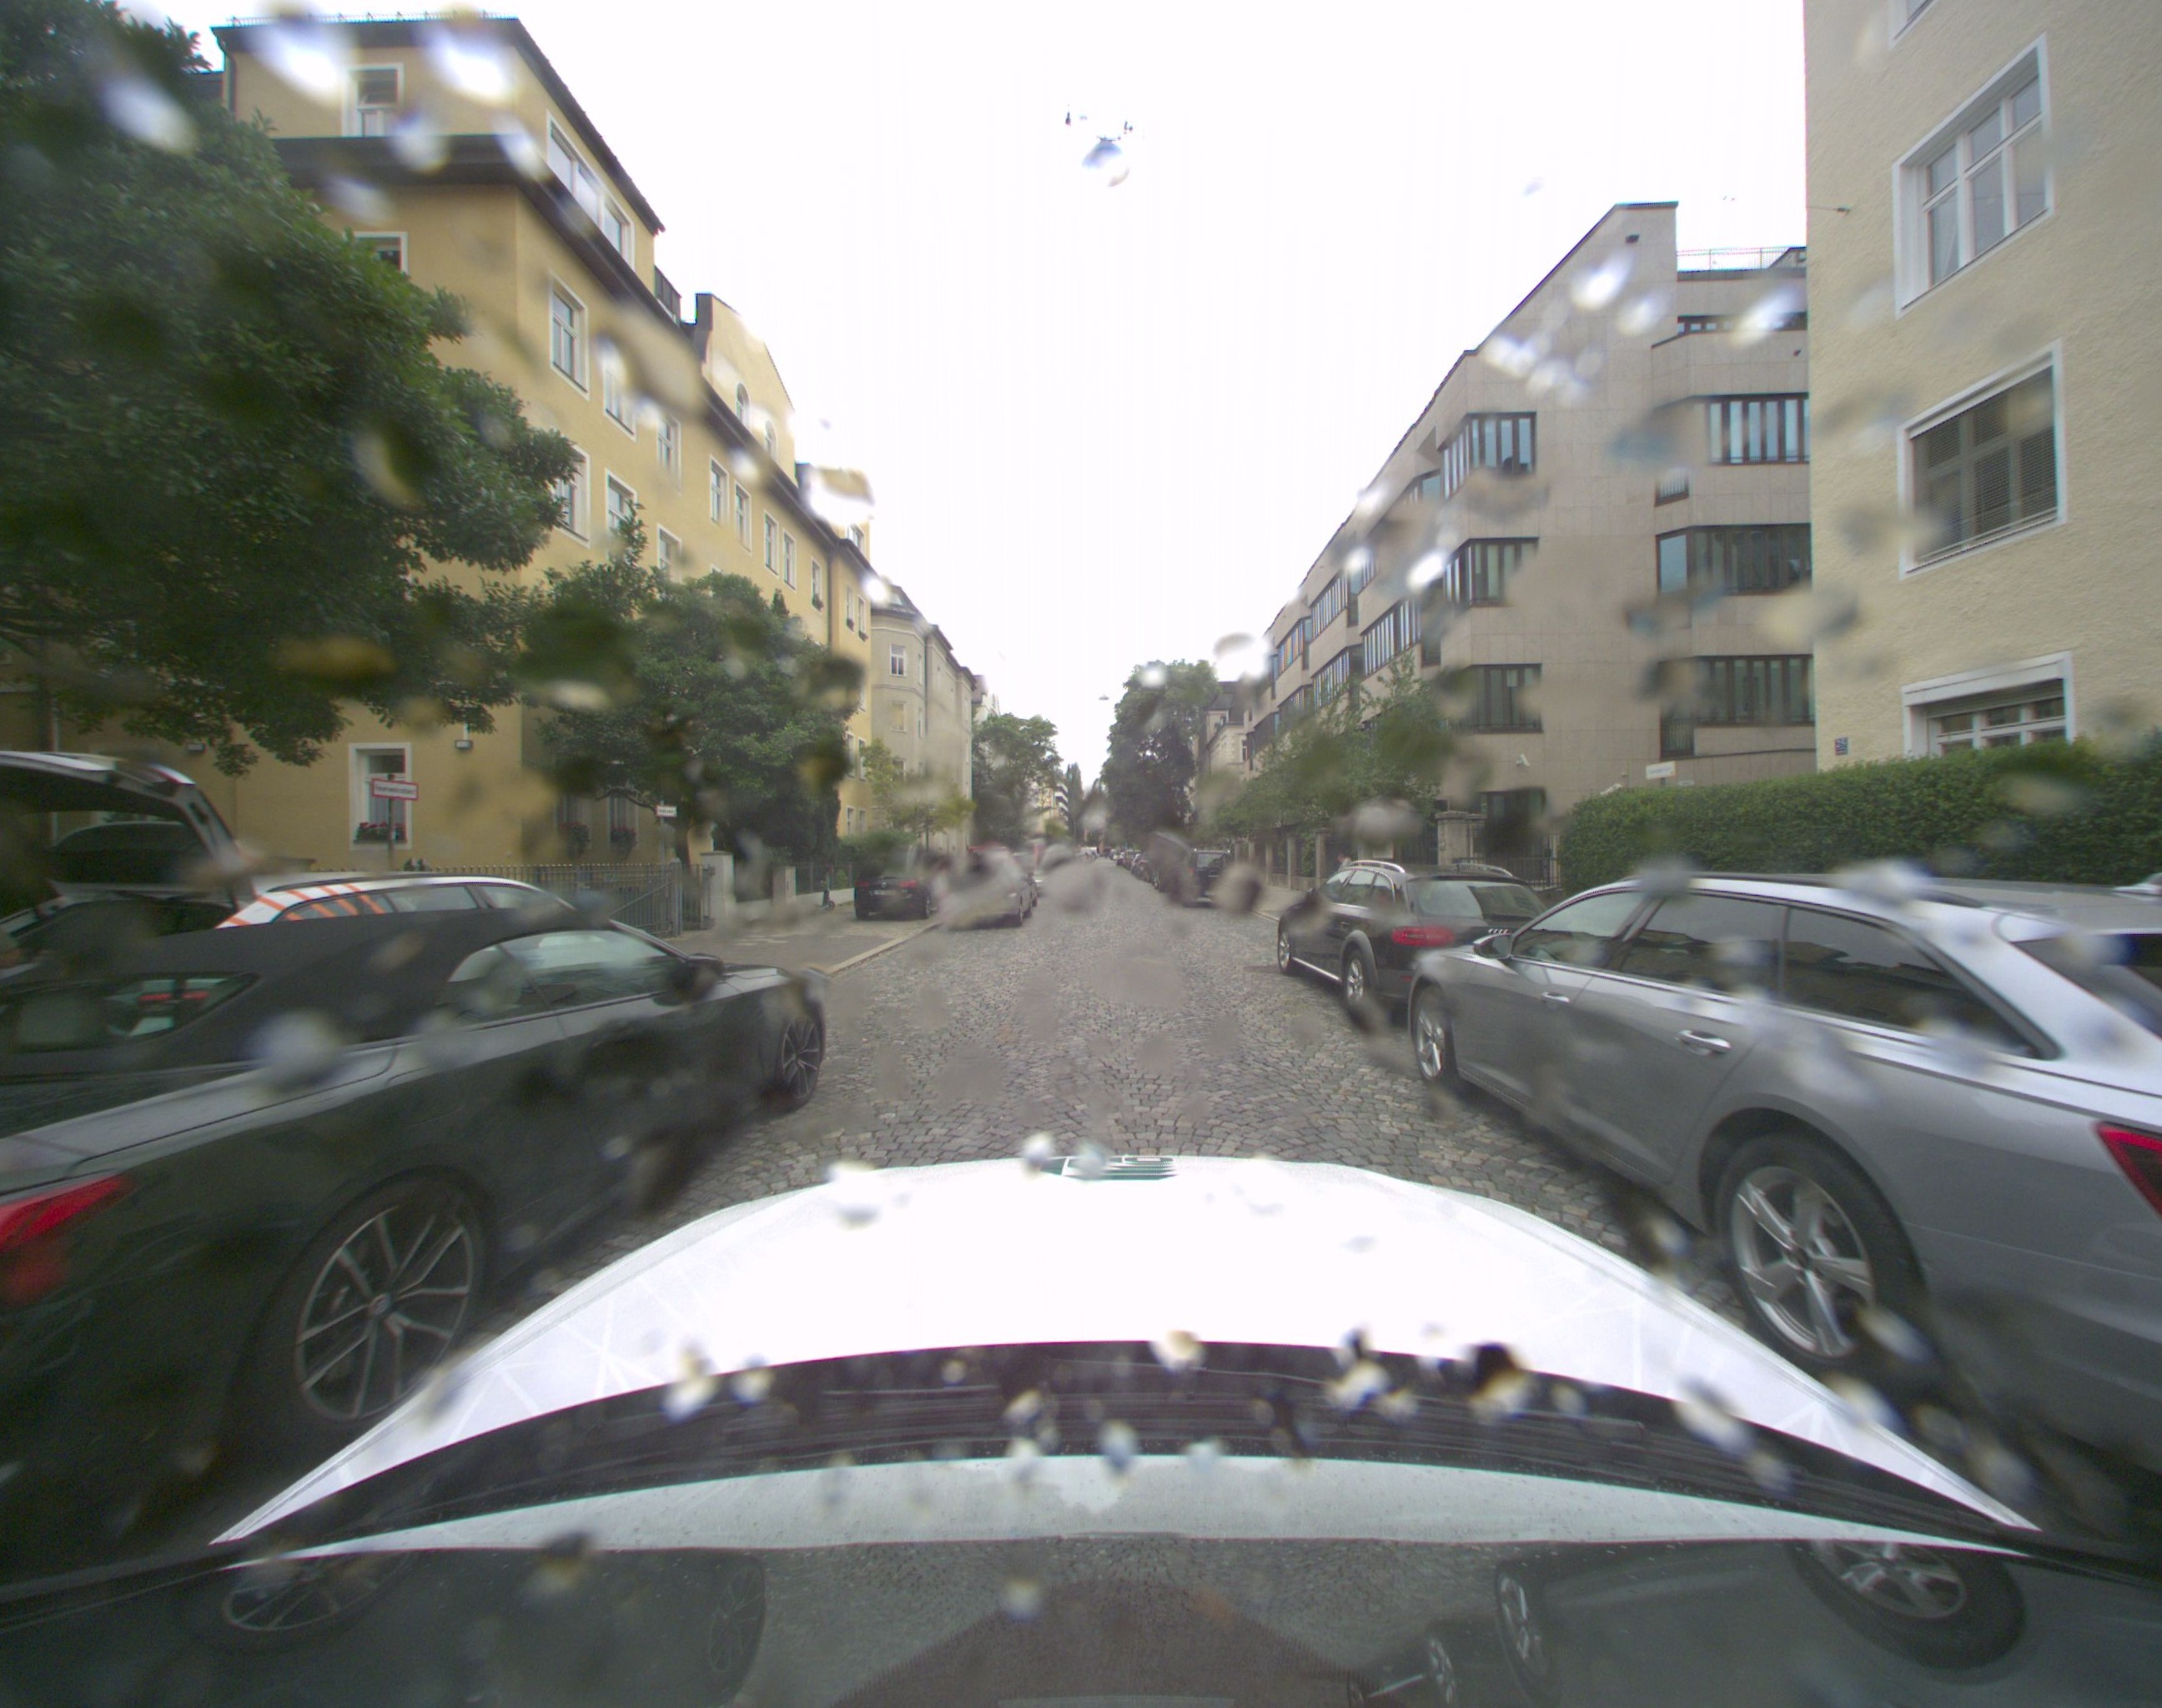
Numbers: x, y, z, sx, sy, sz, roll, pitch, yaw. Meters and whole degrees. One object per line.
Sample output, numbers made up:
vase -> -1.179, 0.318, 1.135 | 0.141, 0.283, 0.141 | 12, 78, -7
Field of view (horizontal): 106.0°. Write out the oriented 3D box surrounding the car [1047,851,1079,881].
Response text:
car -> -1.137, 0.727, 52.506 | 1.860, 1.735, 4.401 | -3, 0, -1

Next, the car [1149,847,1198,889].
car -> 4.390, 0.629, 39.173 | 1.782, 1.796, 4.509 | 3, 0, 0

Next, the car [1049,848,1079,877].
car -> -1.140, 0.571, 57.597 | 1.867, 1.917, 4.828 | -3, 0, 1

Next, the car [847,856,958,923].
car -> -4.475, 0.828, 21.141 | 1.709, 1.497, 4.723 | 1, 0, 1

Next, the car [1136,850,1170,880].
car -> 4.393, 0.653, 50.206 | 1.865, 1.735, 4.895 | 1, 0, 3

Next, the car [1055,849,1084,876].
car -> -0.883, 0.621, 64.013 | 1.986, 1.917, 5.178 | -4, 0, 1

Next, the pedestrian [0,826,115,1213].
pedestrian -> -4.985, 0.706, 3.588 | 0.763, 1.650, 0.583 | 0, 0, 2

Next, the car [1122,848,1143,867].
car -> 5.623, 0.355, 88.741 | 1.867, 1.928, 5.162 | 2, 0, -1

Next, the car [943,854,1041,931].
car -> -2.004, 0.831, 19.620 | 1.707, 1.562, 4.391 | -3, 0, 1

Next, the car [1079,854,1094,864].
car -> 0.862, 0.766, 126.623 | 1.864, 1.580, 4.213 | 1, 0, 5

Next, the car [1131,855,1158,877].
car -> 4.726, 0.845, 61.156 | 1.865, 1.490, 4.621 | 1, 1, 3

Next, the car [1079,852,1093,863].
car -> 0.628, 0.520, 114.853 | 1.867, 1.451, 4.207 | -3, 0, -1

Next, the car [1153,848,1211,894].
car -> 4.095, 0.669, 33.734 | 1.854, 1.702, 4.815 | 2, 0, 1

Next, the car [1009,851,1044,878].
car -> -3.662, 0.680, 55.139 | 1.938, 1.735, 4.658 | 2, 0, 1

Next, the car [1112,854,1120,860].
car -> 7.799, 0.660, 183.119 | 1.783, 1.520, 4.002 | -1, 0, 2

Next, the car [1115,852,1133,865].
car -> 5.296, 0.503, 100.735 | 1.867, 1.503, 4.510 | 2, 0, -1

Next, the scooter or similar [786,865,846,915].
scooter or similar -> -6.797, 0.904, 20.984 | 0.952, 1.200, 1.523 | 2, 0, 2

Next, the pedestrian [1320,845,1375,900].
pedestrian -> 7.748, 0.536, 23.730 | 1.211, 1.493, 1.130 | -3, 0, 3

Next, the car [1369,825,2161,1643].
car -> 3.152, 0.734, 3.864 | 1.986, 1.552, 4.989 | 1, 0, 2

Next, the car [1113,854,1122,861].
car -> 7.318, 0.680, 162.396 | 1.783, 1.520, 4.002 | -1, 0, 2

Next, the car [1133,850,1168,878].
car -> 4.728, 0.641, 56.020 | 1.867, 1.735, 4.746 | 3, 0, -1

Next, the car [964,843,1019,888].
car -> -4.146, 0.506, 38.591 | 1.987, 1.931, 5.330 | 1, 0, 0

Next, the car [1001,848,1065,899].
car -> -1.842, 0.741, 32.993 | 1.998, 1.809, 5.177 | -3, 0, 2

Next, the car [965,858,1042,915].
car -> -2.191, 0.891, 23.968 | 1.723, 1.418, 3.937 | -3, 0, 1

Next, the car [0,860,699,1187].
car -> -4.852, 0.781, 5.979 | 1.769, 1.417, 4.564 | 1, 0, 2

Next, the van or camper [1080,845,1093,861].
van or camper -> 1.026, -0.238, 141.604 | 1.986, 2.652, 4.002 | -4, 0, 2

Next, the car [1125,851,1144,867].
car -> 5.427, 0.526, 83.029 | 1.830, 1.490, 4.424 | 2, 0, 2

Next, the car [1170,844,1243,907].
car -> 3.804, 0.615, 25.255 | 1.613, 1.751, 3.887 | 2, 0, 0

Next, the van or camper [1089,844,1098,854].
van or camper -> 3.517, -1.474, 226.184 | 2.247, 2.742, 5.100 | 0, 0, 2

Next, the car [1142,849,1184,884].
car -> 4.491, 0.665, 45.152 | 1.867, 1.735, 4.659 | 3, 0, 1

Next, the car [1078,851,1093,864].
car -> 0.558, 0.477, 108.769 | 1.867, 1.580, 4.254 | -4, 0, -1

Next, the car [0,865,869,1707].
car -> -2.651, 0.854, 3.714 | 1.807, 1.455, 4.915 | -3, 0, 2

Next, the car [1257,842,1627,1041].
car -> 3.455, 0.706, 9.079 | 1.986, 1.552, 5.016 | 2, 0, 1
